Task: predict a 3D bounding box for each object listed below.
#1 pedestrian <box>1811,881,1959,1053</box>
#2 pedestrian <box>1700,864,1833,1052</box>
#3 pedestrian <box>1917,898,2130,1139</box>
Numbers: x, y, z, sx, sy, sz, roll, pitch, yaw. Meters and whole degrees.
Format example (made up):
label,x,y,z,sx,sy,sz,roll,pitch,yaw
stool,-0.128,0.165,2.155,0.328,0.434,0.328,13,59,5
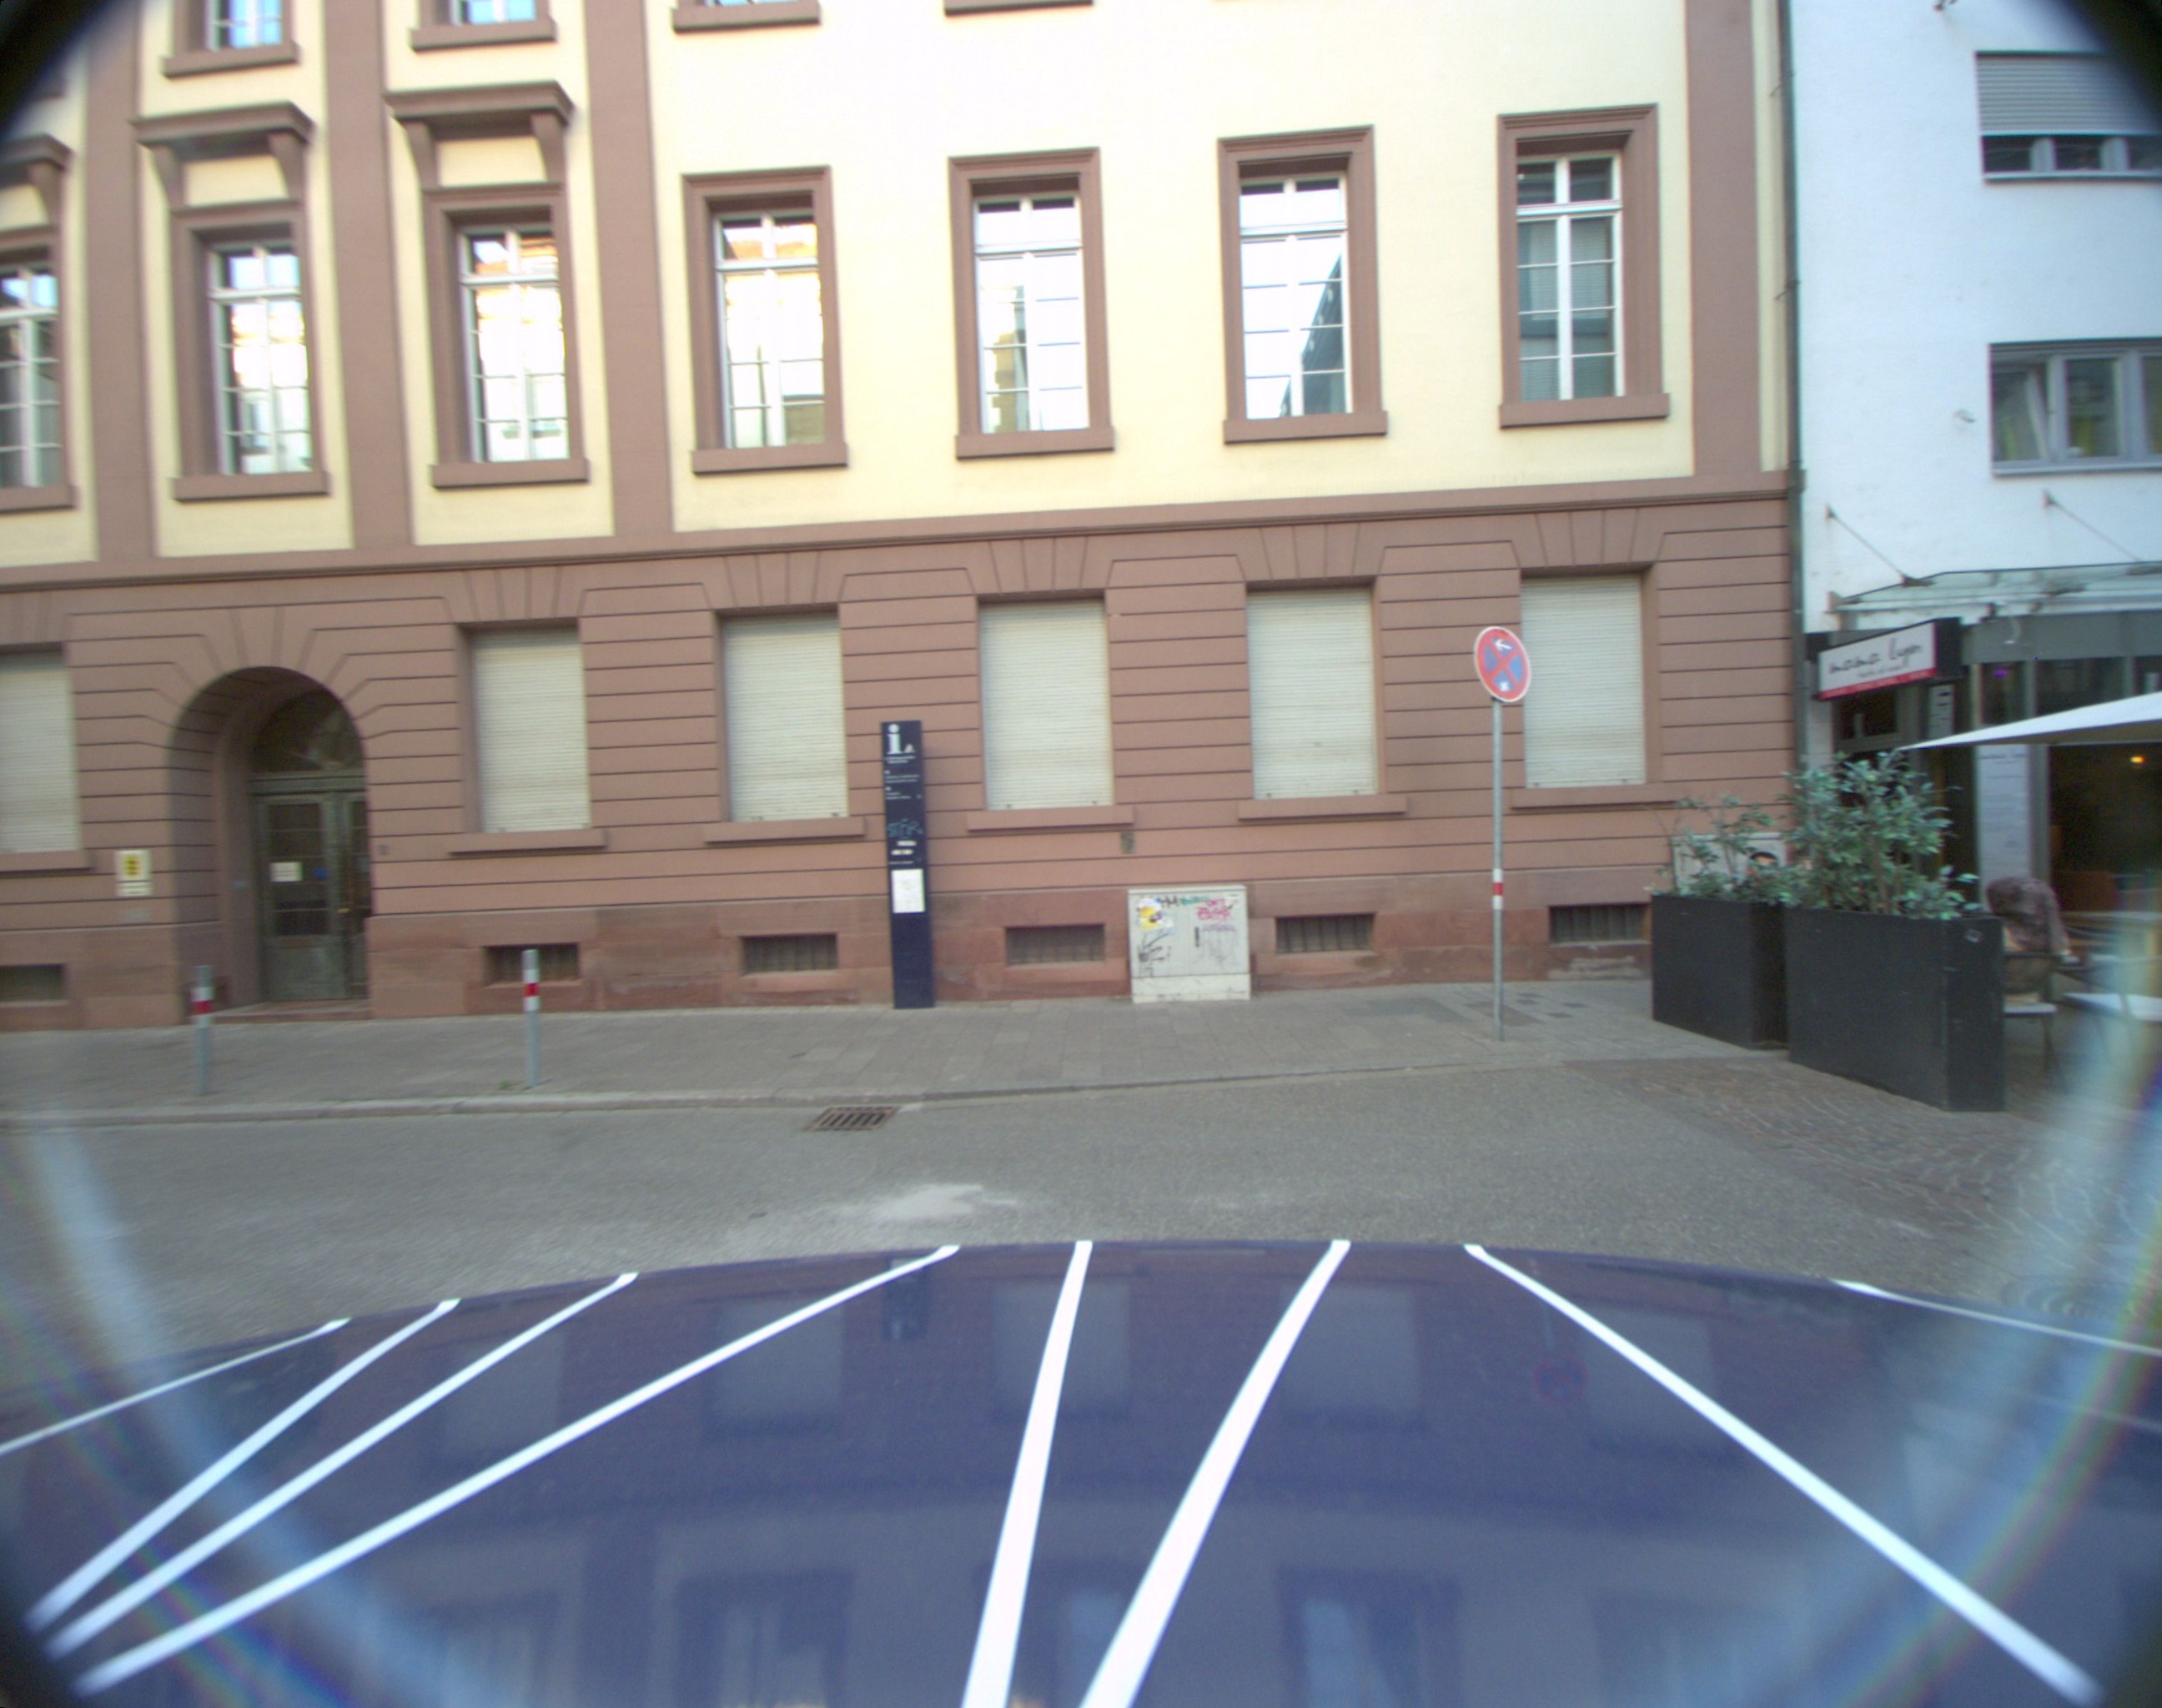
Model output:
label,x,y,z,sx,sy,sz,roll,pitch,yaw
pedestrian,6.033,0.823,5.726,0.549,1.204,0.524,-2,1,4
pedestrian,5.190,0.764,5.776,0.549,1.341,0.489,-2,1,4
pedestrian,5.115,0.869,4.151,0.561,1.205,0.461,-2,1,4
